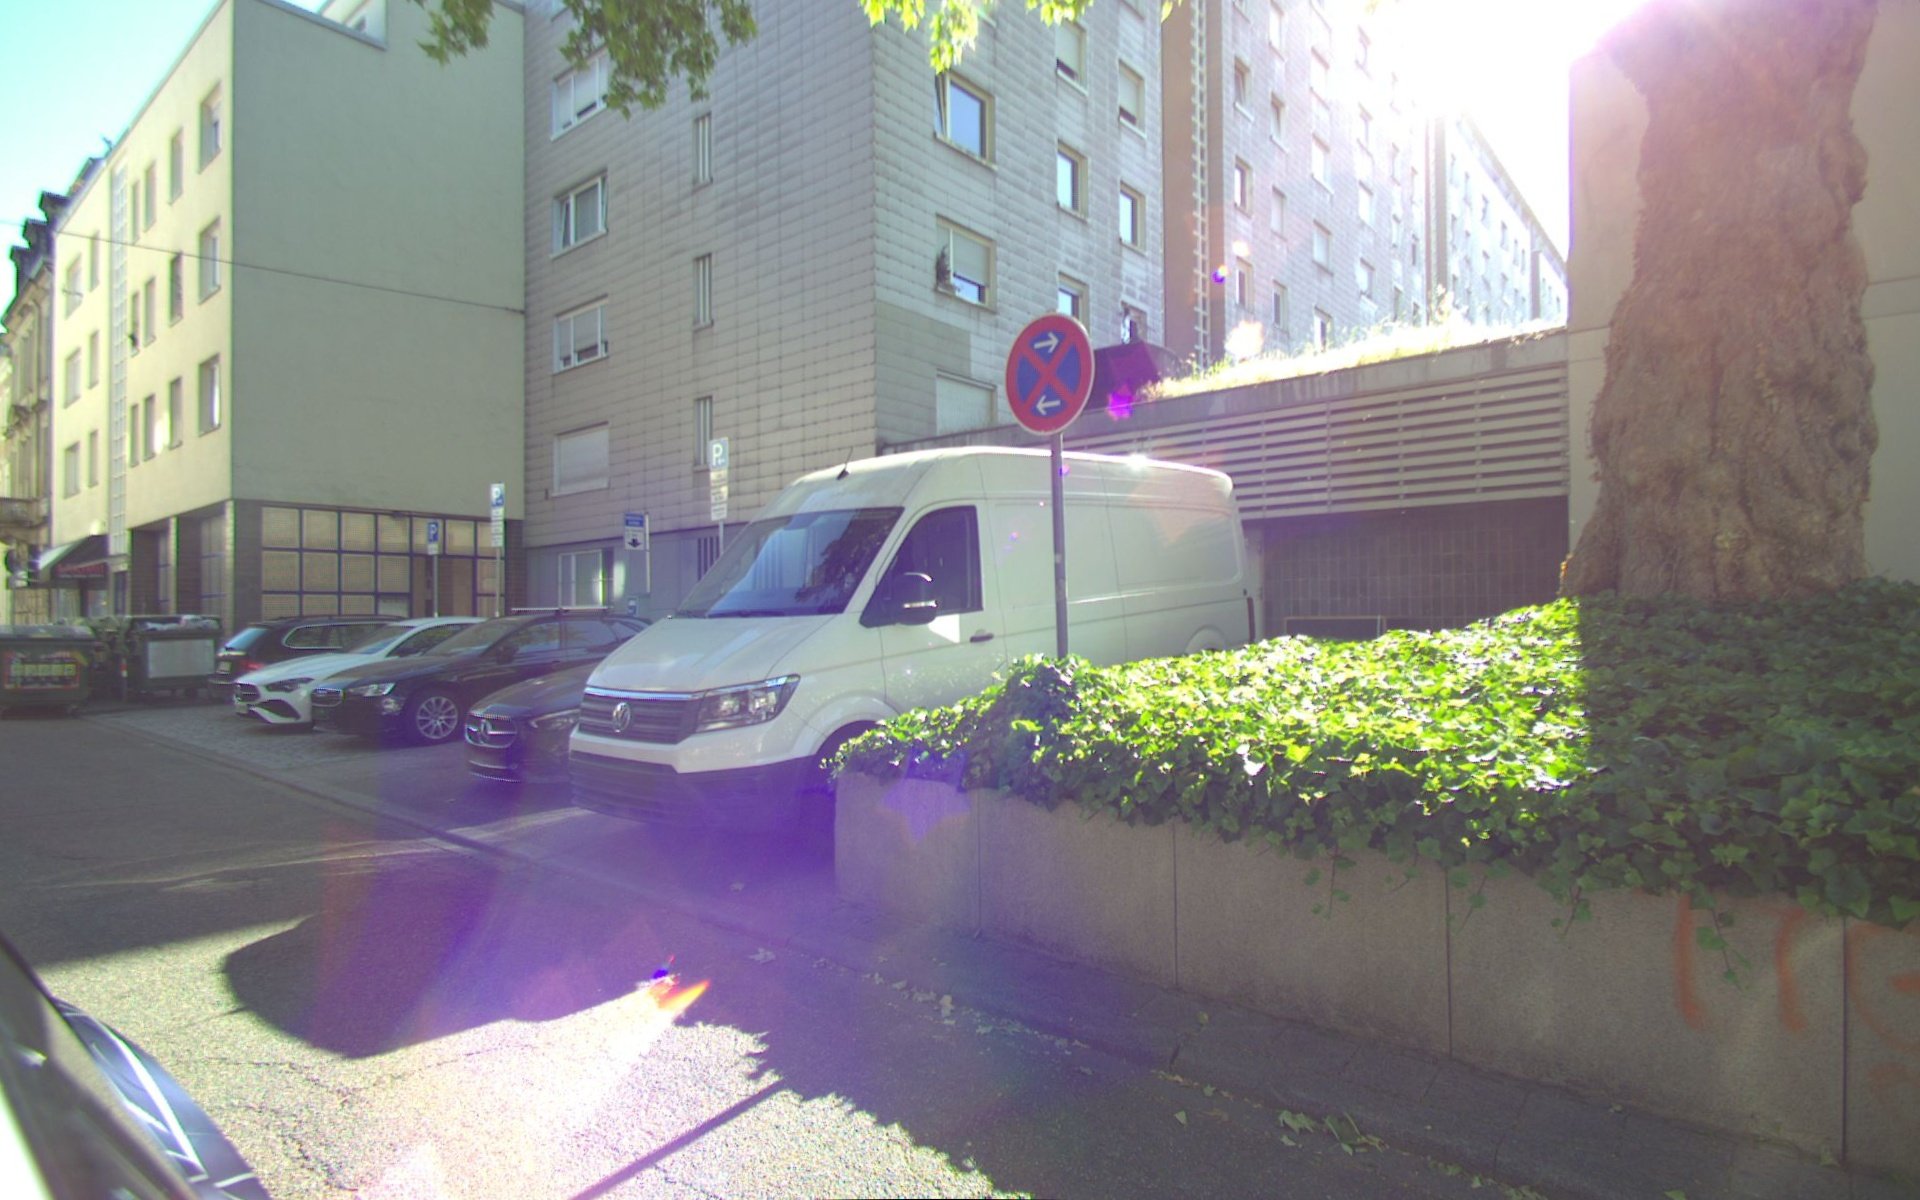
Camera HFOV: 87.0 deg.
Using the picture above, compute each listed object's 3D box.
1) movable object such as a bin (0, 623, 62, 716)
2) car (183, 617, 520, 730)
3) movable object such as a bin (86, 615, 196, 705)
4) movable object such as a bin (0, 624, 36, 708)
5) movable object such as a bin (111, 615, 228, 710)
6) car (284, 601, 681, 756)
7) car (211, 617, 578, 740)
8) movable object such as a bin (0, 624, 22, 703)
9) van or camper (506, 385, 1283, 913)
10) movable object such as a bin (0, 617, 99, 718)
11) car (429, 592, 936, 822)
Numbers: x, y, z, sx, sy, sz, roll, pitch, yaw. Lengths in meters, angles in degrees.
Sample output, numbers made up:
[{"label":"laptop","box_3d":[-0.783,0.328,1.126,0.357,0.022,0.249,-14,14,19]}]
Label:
[{"label":"movable object such as a bin","box_3d":[-16.403,1.164,17.311,1.923,1.512,1.231,-2,-2,38]},{"label":"car","box_3d":[-9.563,1.068,16.270,1.694,1.545,4.367,-2,-2,34]},{"label":"movable object such as a bin","box_3d":[-14.476,1.027,17.884,1.515,1.512,1.207,-2,-2,38]},{"label":"movable object such as a bin","box_3d":[-18.005,1.210,18.642,1.558,1.512,1.207,-2,-2,38]},{"label":"movable object such as a bin","box_3d":[-13.303,1.019,17.040,1.193,1.512,1.312,-2,-2,38]},{"label":"car","box_3d":[-5.844,0.872,12.944,1.694,1.629,4.367,-2,-2,34]},{"label":"car","box_3d":[-7.877,1.003,14.539,1.595,1.474,4.367,-2,-2,34]},{"label":"movable object such as a bin","box_3d":[-19.236,1.232,19.688,1.558,1.512,1.207,-2,-2,38]},{"label":"van or camper","box_3d":[0.214,0.118,8.221,1.999,2.593,6.835,-2,1,41]},{"label":"movable object such as a bin","box_3d":[-14.770,1.066,16.114,1.875,1.512,1.225,-2,-5,39]},{"label":"car","box_3d":[-2.297,0.763,9.434,1.697,1.545,4.361,-2,0,39]}]
